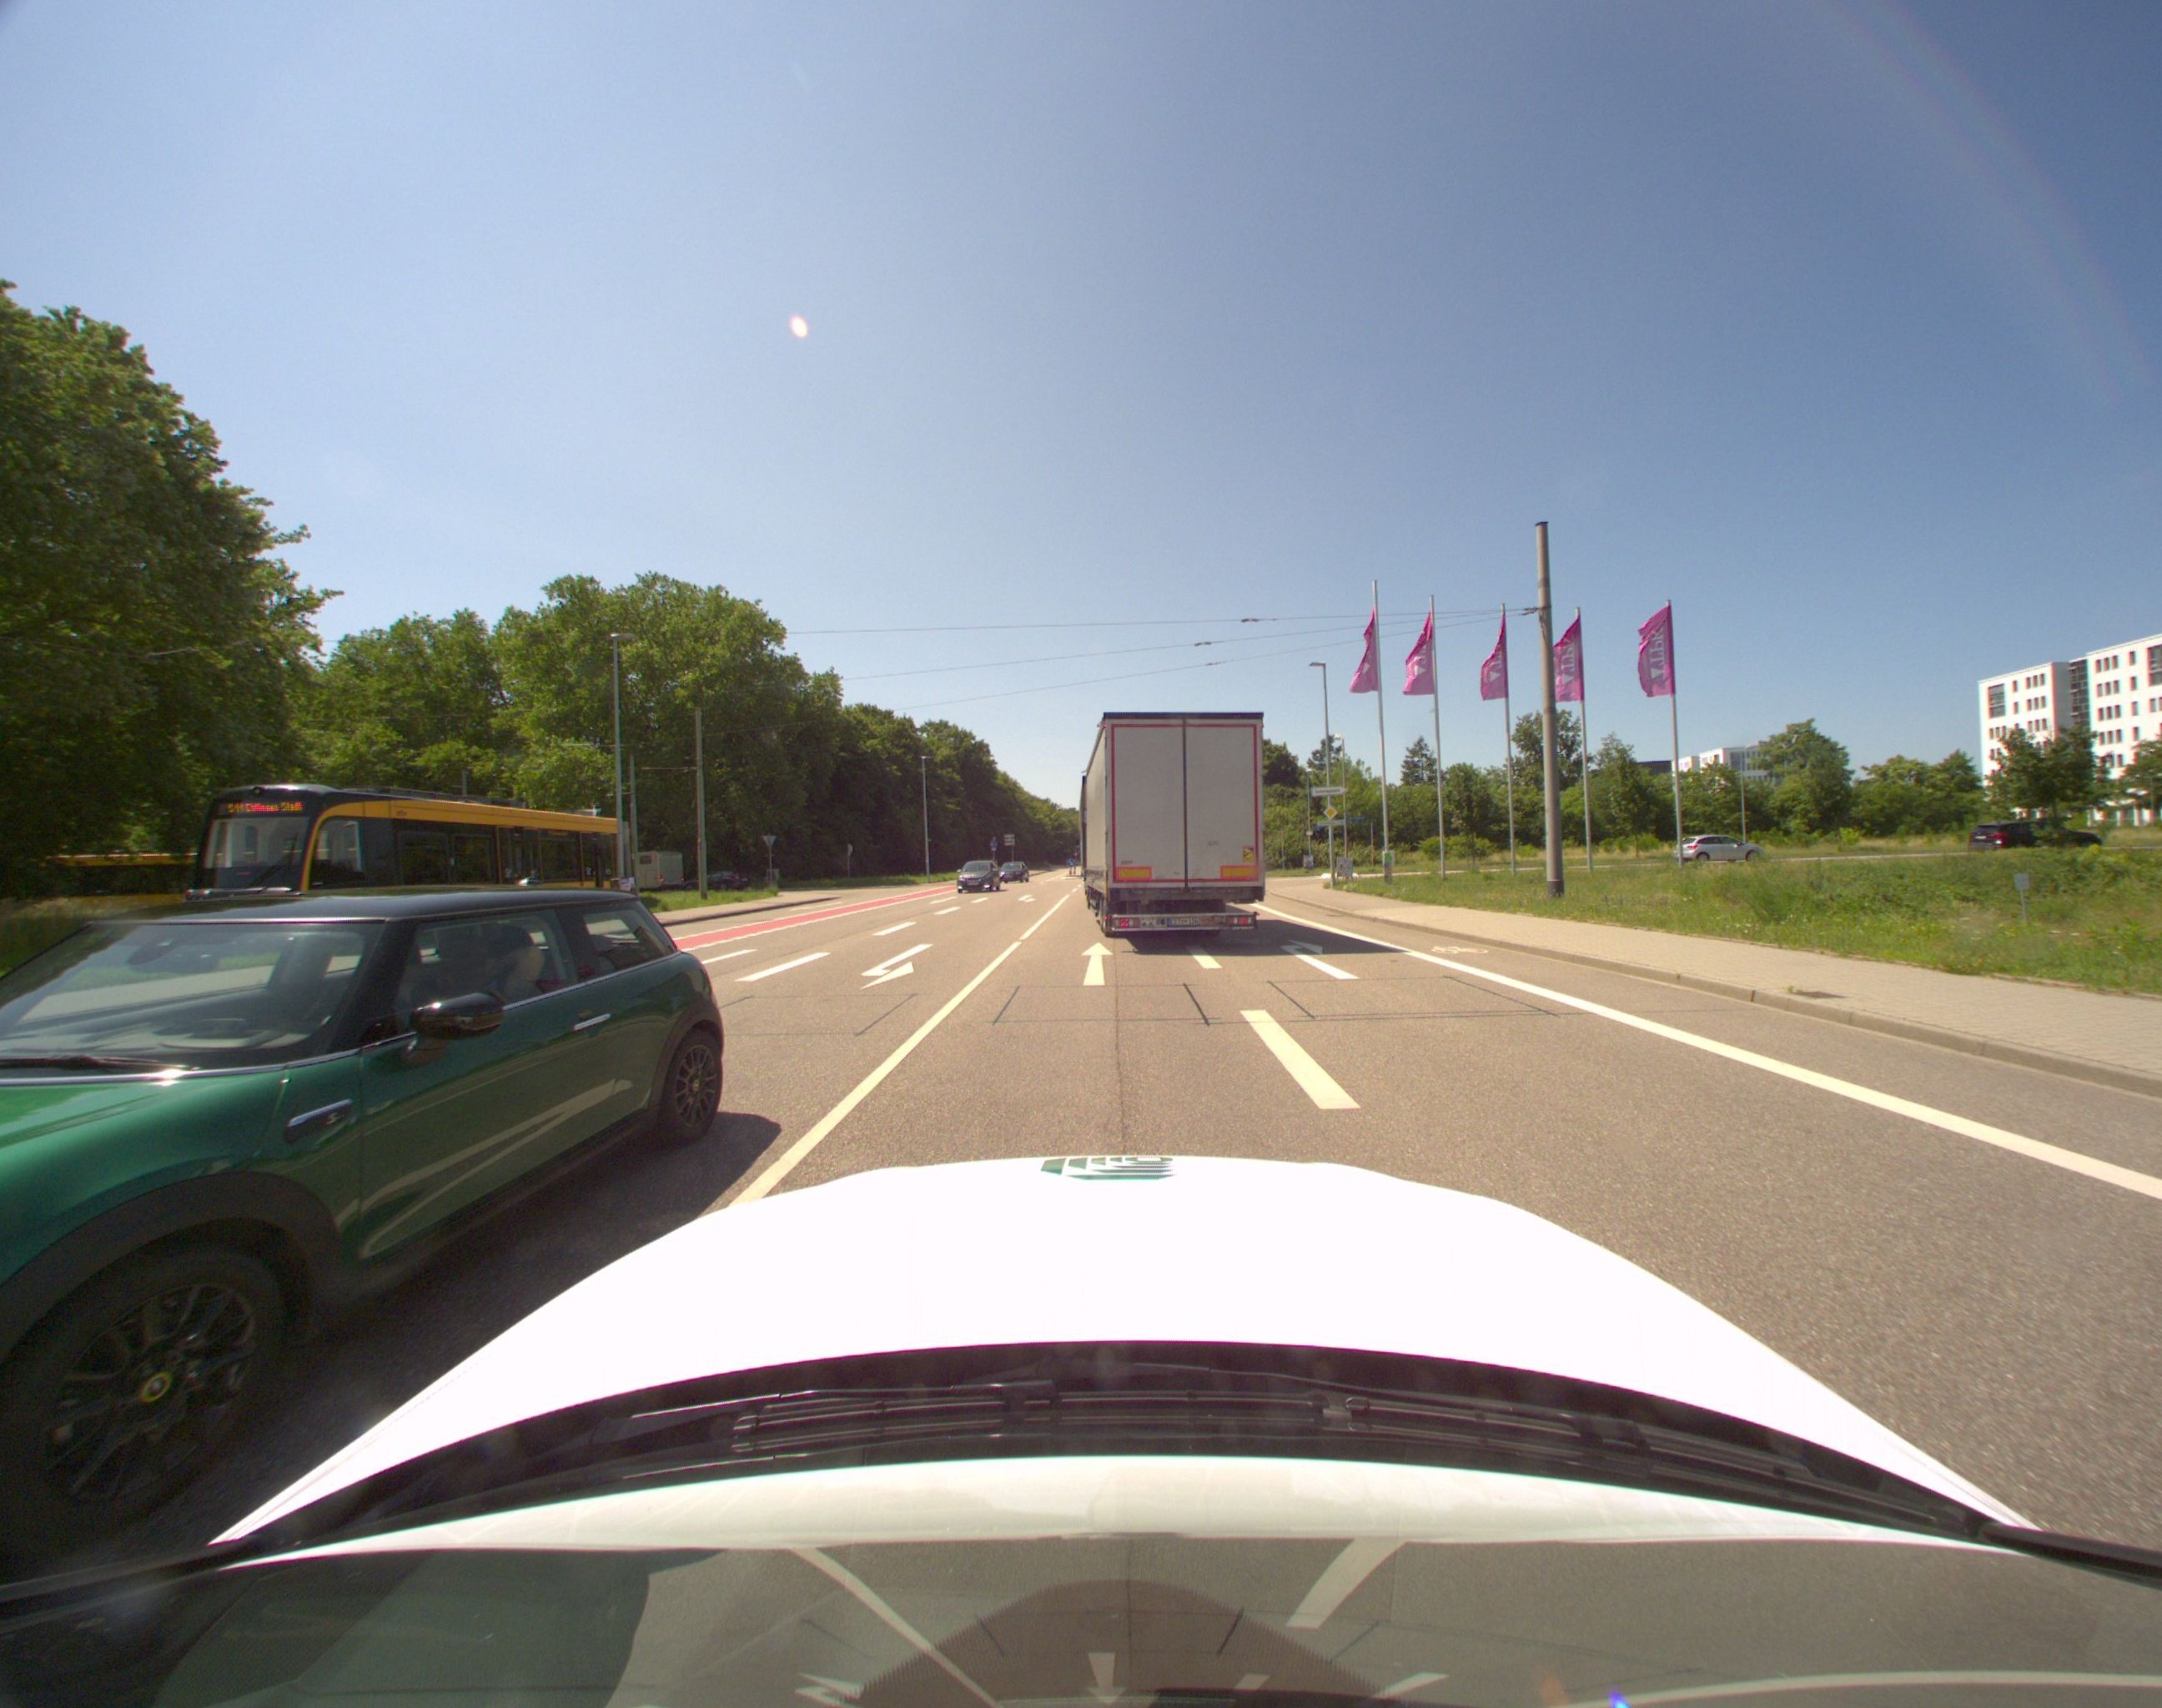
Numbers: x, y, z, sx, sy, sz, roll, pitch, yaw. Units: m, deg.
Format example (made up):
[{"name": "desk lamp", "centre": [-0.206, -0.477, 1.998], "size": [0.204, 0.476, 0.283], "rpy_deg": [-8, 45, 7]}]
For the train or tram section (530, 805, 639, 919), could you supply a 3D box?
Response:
[{"name": "train or tram section", "centre": [-19.817, 0.358, 32.889], "size": [3.035, 3.759, 11.505], "rpy_deg": [-3, 0, -30]}]

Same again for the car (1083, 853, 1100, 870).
[{"name": "car", "centre": [1.210, 0.869, 93.908], "size": [1.648, 1.907, 4.004], "rpy_deg": [-2, 0, 4]}]

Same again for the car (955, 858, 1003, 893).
[{"name": "car", "centre": [-4.747, 0.978, 38.387], "size": [1.616, 1.456, 3.503], "rpy_deg": [-3, -1, 2]}]

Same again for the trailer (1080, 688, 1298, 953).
[{"name": "trailer", "centre": [1.674, -0.527, 17.552], "size": [3.069, 4.070, 9.801], "rpy_deg": [-1, 0, -2]}]

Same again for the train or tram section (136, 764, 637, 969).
[{"name": "train or tram section", "centre": [-16.744, 0.226, 22.013], "size": [3.010, 3.759, 12.974], "rpy_deg": [-3, 0, -4]}]

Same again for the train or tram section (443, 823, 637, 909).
[{"name": "train or tram section", "centre": [-27.910, 0.743, 41.543], "size": [13.865, 3.759, 3.046], "rpy_deg": [-3, 0, 34]}]

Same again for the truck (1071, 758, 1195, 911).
[{"name": "truck", "centre": [1.353, -0.518, 25.777], "size": [3.070, 4.070, 7.951], "rpy_deg": [-1, 0, -2]}]

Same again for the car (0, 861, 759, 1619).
[{"name": "car", "centre": [-2.951, 0.794, 3.089], "size": [1.716, 1.462, 3.992], "rpy_deg": [-1, 0, 2]}]

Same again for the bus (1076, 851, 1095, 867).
[{"name": "bus", "centre": [1.022, 1.035, 174.134], "size": [2.736, 3.045, 11.958], "rpy_deg": [-2, 0, 6]}]

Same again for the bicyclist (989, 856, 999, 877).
[{"name": "bicyclist", "centre": [-7.043, 1.009, 65.867], "size": [0.662, 1.706, 0.769], "rpy_deg": [-1, 0, 1]}]

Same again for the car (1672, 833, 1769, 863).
[{"name": "car", "centre": [33.257, -0.294, 42.423], "size": [3.592, 1.533, 1.711], "rpy_deg": [0, 0, 11]}]

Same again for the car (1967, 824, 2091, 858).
[{"name": "car", "centre": [44.413, -0.604, 38.239], "size": [3.596, 1.533, 1.709], "rpy_deg": [0, 0, 7]}]

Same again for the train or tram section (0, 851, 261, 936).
[{"name": "train or tram section", "centre": [-52.928, 2.127, 42.412], "size": [14.203, 3.759, 3.004], "rpy_deg": [-3, 0, -22]}]

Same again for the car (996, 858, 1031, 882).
[{"name": "car", "centre": [-4.580, 1.048, 55.714], "size": [1.736, 1.405, 4.445], "rpy_deg": [-2, 1, 3]}]

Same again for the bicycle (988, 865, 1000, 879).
[{"name": "bicycle", "centre": [-7.041, 1.465, 65.867], "size": [0.666, 1.055, 2.046], "rpy_deg": [-1, 0, 2]}]

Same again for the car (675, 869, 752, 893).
[{"name": "car", "centre": [-23.605, 1.722, 52.397], "size": [4.272, 1.417, 1.671], "rpy_deg": [-2, -2, 10]}]

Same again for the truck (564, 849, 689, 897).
[{"name": "truck", "centre": [-30.225, 1.262, 54.268], "size": [7.269, 2.910, 2.576], "rpy_deg": [-2, -1, 12]}]

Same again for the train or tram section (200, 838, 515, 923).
[{"name": "train or tram section", "centre": [-39.834, 1.383, 45.239], "size": [14.114, 3.759, 3.023], "rpy_deg": [-3, 0, -3]}]
